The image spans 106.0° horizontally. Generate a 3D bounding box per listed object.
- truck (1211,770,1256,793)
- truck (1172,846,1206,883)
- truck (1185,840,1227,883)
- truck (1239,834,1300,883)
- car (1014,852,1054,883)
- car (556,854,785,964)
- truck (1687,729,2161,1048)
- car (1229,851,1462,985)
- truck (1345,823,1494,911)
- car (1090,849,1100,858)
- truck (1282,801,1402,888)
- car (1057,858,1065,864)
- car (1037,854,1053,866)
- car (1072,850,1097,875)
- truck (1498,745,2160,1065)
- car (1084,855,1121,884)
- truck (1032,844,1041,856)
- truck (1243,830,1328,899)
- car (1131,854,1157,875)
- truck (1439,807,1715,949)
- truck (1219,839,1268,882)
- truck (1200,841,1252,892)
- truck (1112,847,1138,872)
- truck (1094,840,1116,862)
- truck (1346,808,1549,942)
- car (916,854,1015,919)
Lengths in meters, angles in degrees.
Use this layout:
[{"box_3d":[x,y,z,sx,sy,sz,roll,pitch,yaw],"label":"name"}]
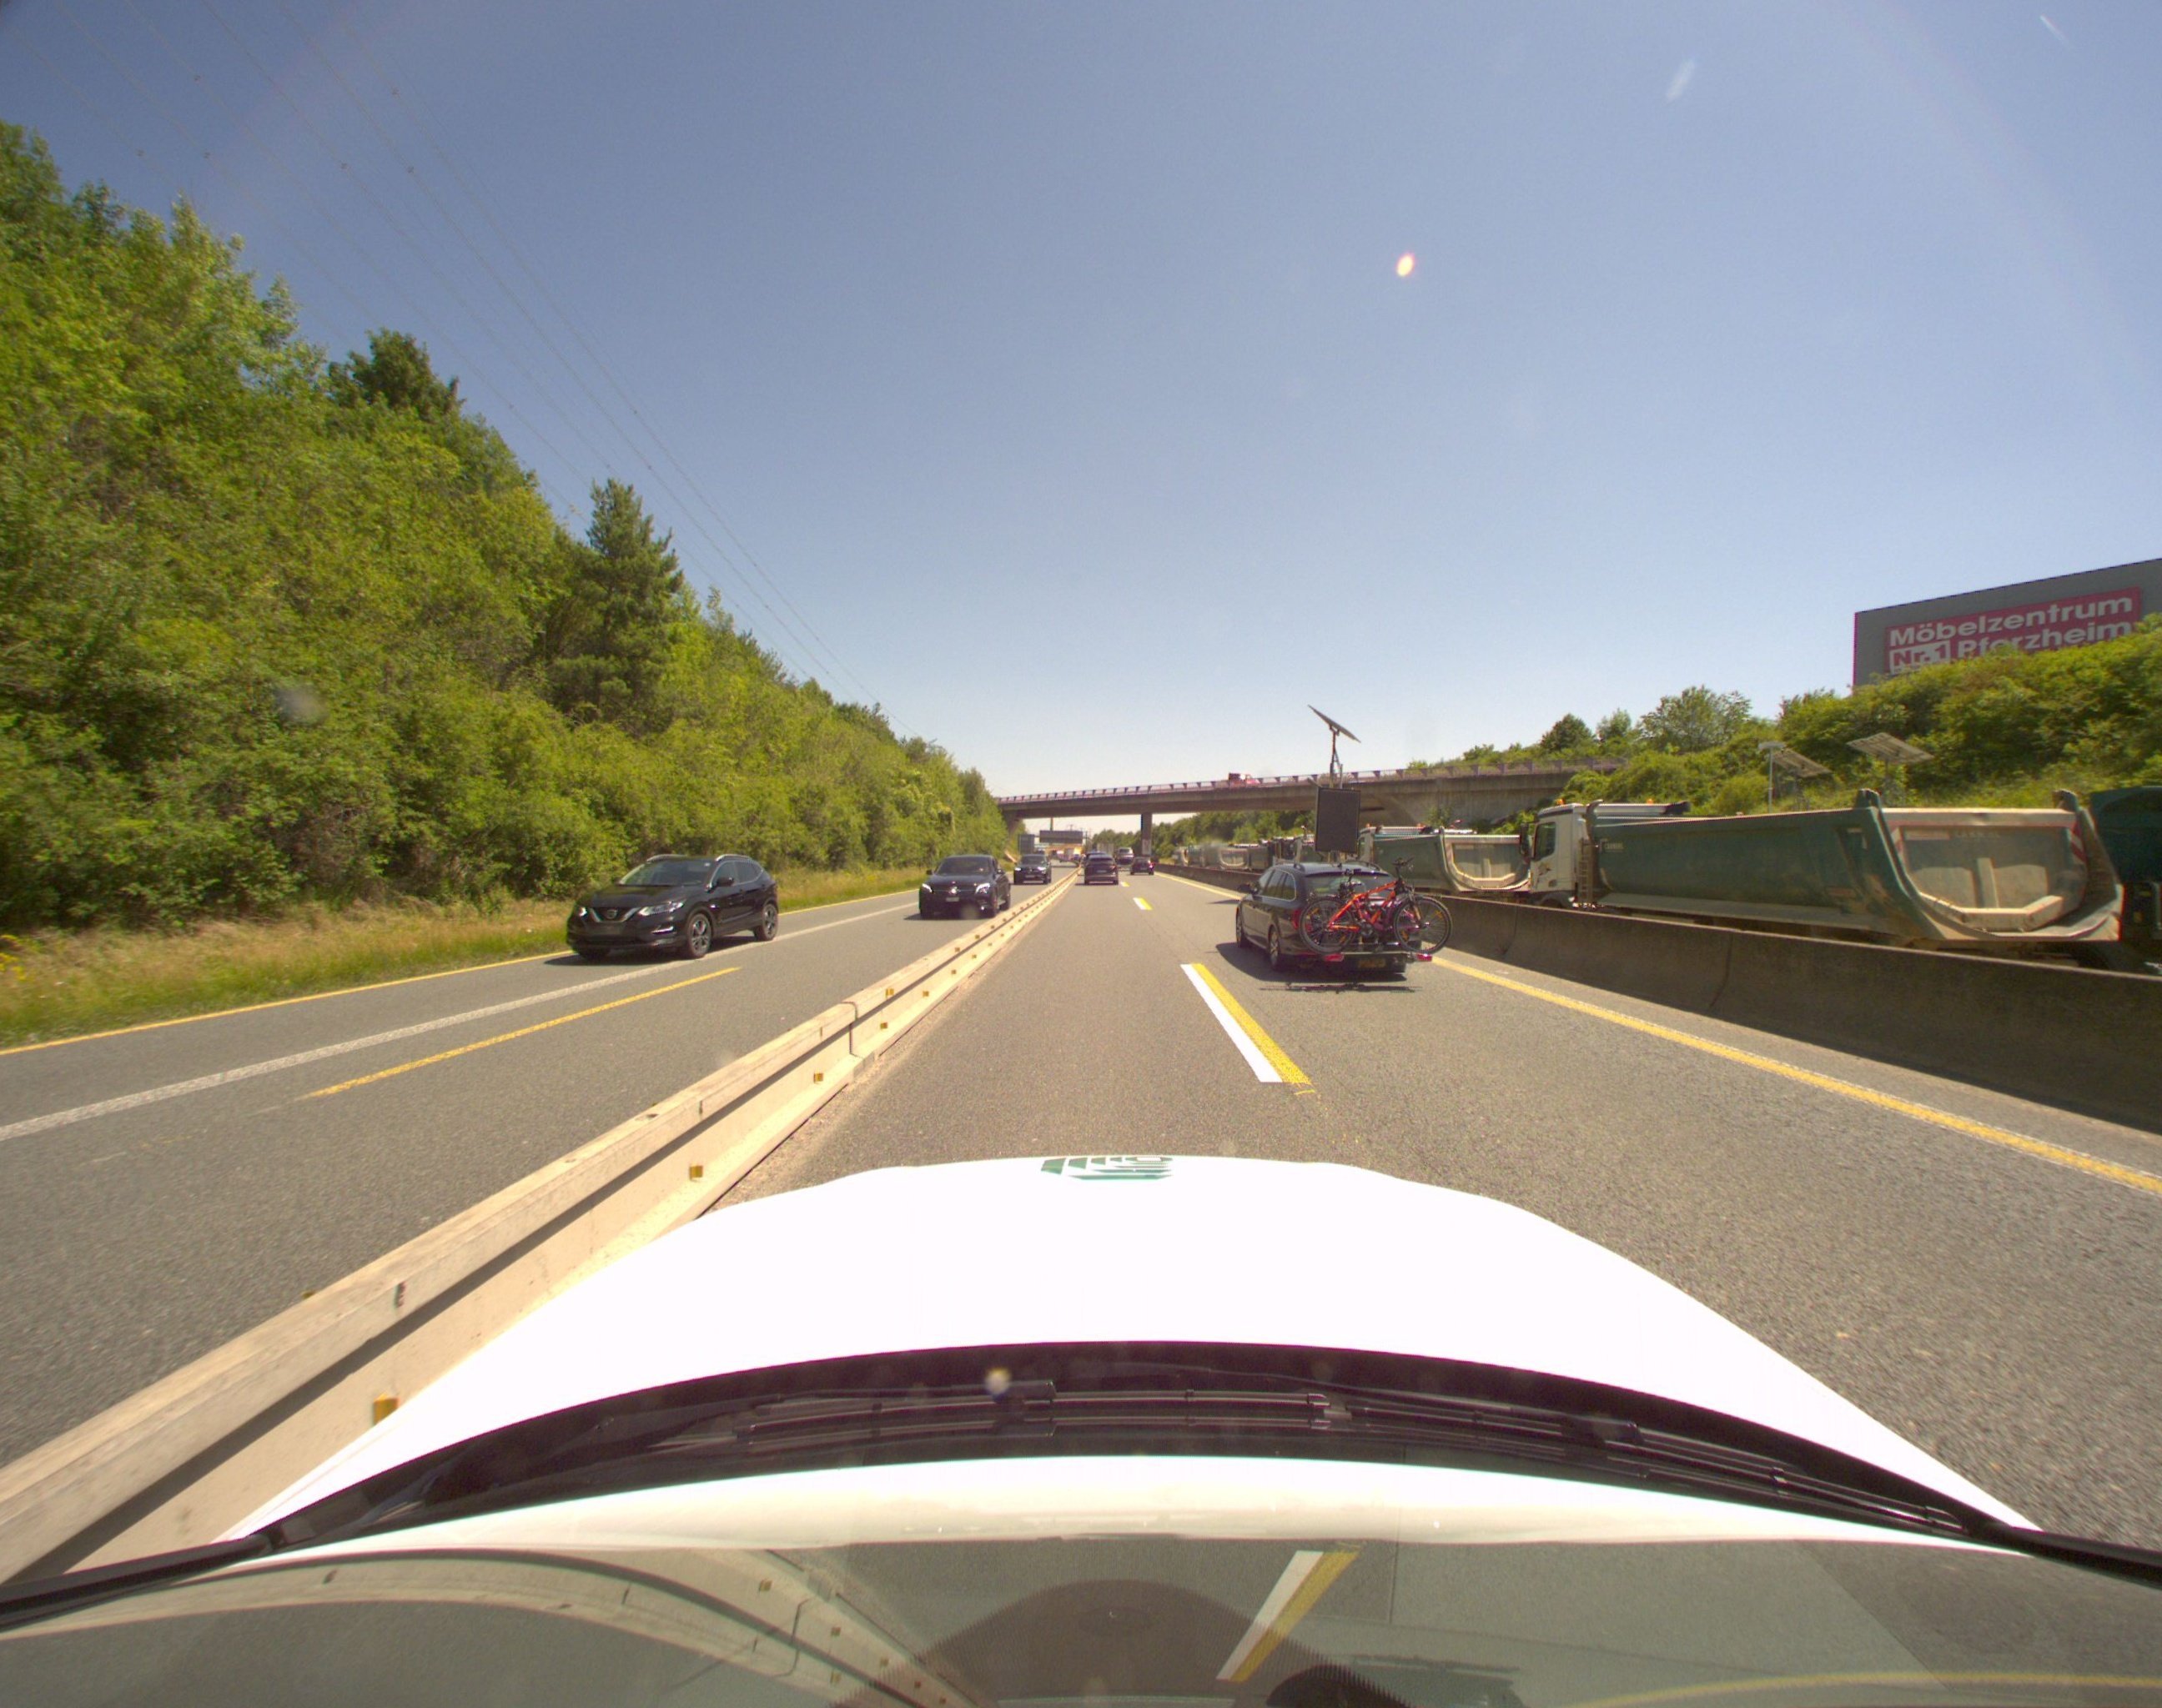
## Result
[{"box_3d":[17.770,-8.446,95.174,1.944,2.066,5.456,0,-1,-35],"label":"truck"},{"box_3d":[11.719,1.069,89.206,2.678,3.843,9.326,0,0,1],"label":"truck"},{"box_3d":[11.621,0.673,76.778,2.678,3.856,9.326,0,0,1],"label":"truck"},{"box_3d":[14.518,0.346,63.355,2.678,3.557,9.325,0,0,1],"label":"truck"},{"box_3d":[-2.590,0.725,45.915,1.837,1.610,4.701,1,0,2],"label":"car"},{"box_3d":[-6.576,0.784,13.607,1.693,1.565,3.996,0,0,2],"label":"car"},{"box_3d":[13.466,0.384,11.626,2.677,3.557,9.605,0,0,1],"label":"truck"},{"box_3d":[3.413,0.737,11.600,1.892,1.490,4.950,0,-1,2],"label":"car"},{"box_3d":[14.500,0.497,35.943,2.678,3.378,9.602,0,0,0],"label":"truck"},{"box_3d":[3.153,-0.077,184.828,1.895,1.968,4.270,0,0,-4],"label":"car"},{"box_3d":[11.820,-0.390,37.900,2.678,3.557,9.325,0,0,1],"label":"truck"},{"box_3d":[-4.787,1.574,193.899,1.668,1.393,4.071,0,-1,1],"label":"car"},{"box_3d":[-4.780,0.764,109.316,1.771,1.577,4.071,0,0,2],"label":"car"},{"box_3d":[0.341,0.660,66.271,1.892,1.968,4.278,0,0,2],"label":"car"},{"box_3d":[10.797,0.577,13.890,2.677,3.557,9.606,0,0,2],"label":"truck"},{"box_3d":[1.212,0.803,44.287,1.892,1.505,4.278,0,0,2],"label":"car"},{"box_3d":[-11.759,-1.030,215.166,2.503,3.186,10.096,0,0,-3],"label":"truck"},{"box_3d":[11.611,0.547,47.150,2.678,3.557,9.325,0,0,1],"label":"truck"},{"box_3d":[5.016,0.808,65.203,1.892,1.585,4.278,0,0,2],"label":"car"},{"box_3d":[13.907,0.582,24.184,2.676,3.378,9.608,0,0,2],"label":"truck"},{"box_3d":[14.794,0.595,74.774,2.678,3.727,9.325,0,0,1],"label":"truck"},{"box_3d":[11.474,0.915,65.220,2.678,3.761,9.326,0,0,1],"label":"truck"},{"box_3d":[4.554,0.543,85.699,2.397,2.558,7.500,0,0,0],"label":"truck"},{"box_3d":[4.390,-0.516,150.208,3.285,3.845,10.096,0,0,-3],"label":"truck"},{"box_3d":[11.300,0.563,26.425,2.677,3.557,9.411,0,0,2],"label":"truck"},{"box_3d":[-2.979,0.784,22.046,1.837,1.533,4.673,-2,0,2],"label":"car"}]
